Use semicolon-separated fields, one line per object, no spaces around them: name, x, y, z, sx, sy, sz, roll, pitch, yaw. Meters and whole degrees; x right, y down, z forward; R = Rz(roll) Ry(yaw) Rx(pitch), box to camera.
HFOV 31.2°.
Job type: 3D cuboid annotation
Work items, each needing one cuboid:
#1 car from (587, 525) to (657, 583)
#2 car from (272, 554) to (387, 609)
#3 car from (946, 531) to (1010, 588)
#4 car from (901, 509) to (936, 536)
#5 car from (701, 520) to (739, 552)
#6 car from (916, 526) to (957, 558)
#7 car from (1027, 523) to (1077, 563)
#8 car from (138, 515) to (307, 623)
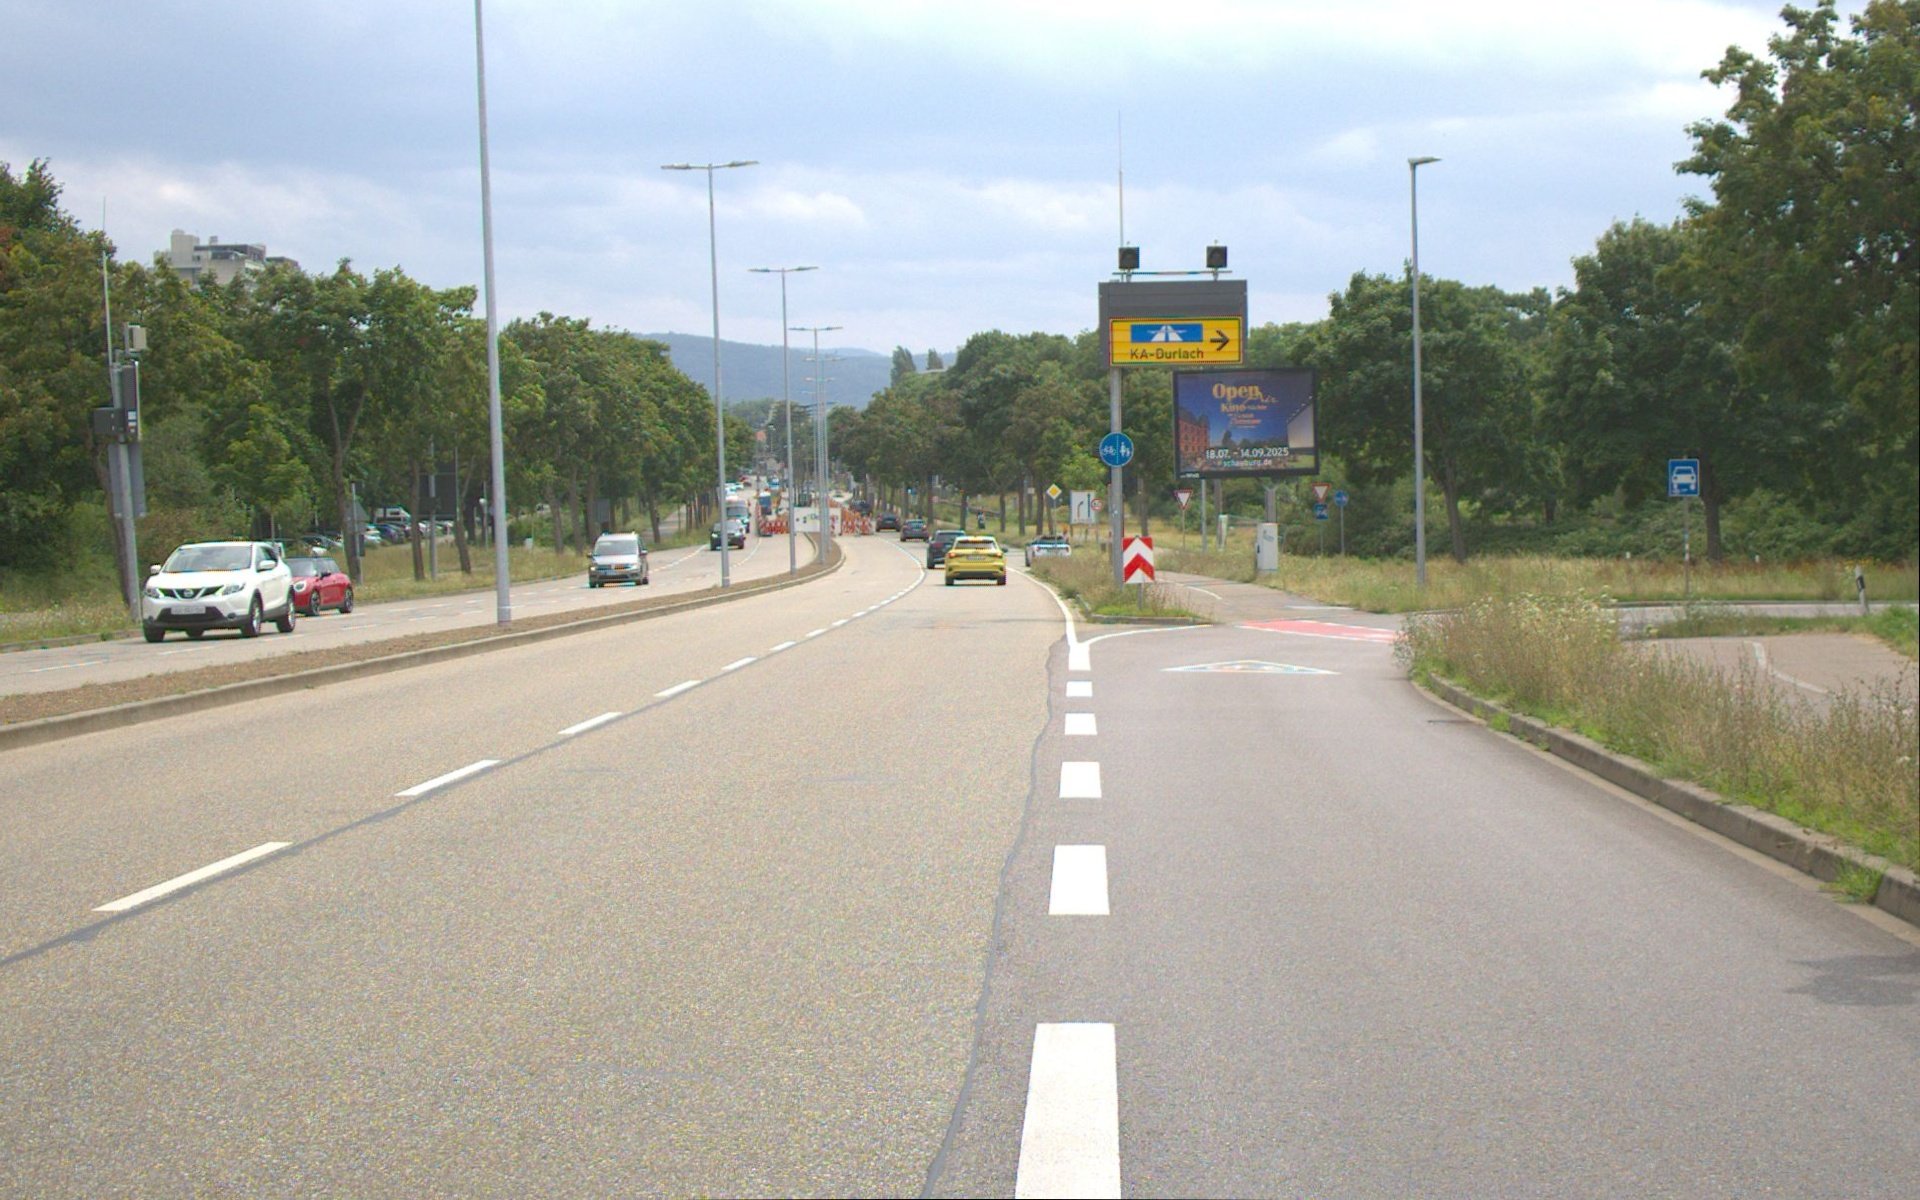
car;-11.477;-1.583;117.057;1.902;1.803;4.540;0;2;0
car;-15.094;-0.461;82.461;1.404;1.240;3.890;1;1;11
car;0.515;-1.202;101.368;1.793;1.556;4.001;-1;2;-1
car;-2.672;-5.049;223.273;2.206;1.678;4.001;-1;2;0
car;-14.715;-3.939;211.053;1.993;1.805;4.798;-2;2;-1
car;-0.999;-2.452;144.612;1.667;1.265;4.001;-1;2;-1
car;4.081;-2.570;153.068;2.013;1.664;4.001;-1;2;-1
car;-12.071;-0.540;56.530;1.694;1.623;4.384;0;2;2
